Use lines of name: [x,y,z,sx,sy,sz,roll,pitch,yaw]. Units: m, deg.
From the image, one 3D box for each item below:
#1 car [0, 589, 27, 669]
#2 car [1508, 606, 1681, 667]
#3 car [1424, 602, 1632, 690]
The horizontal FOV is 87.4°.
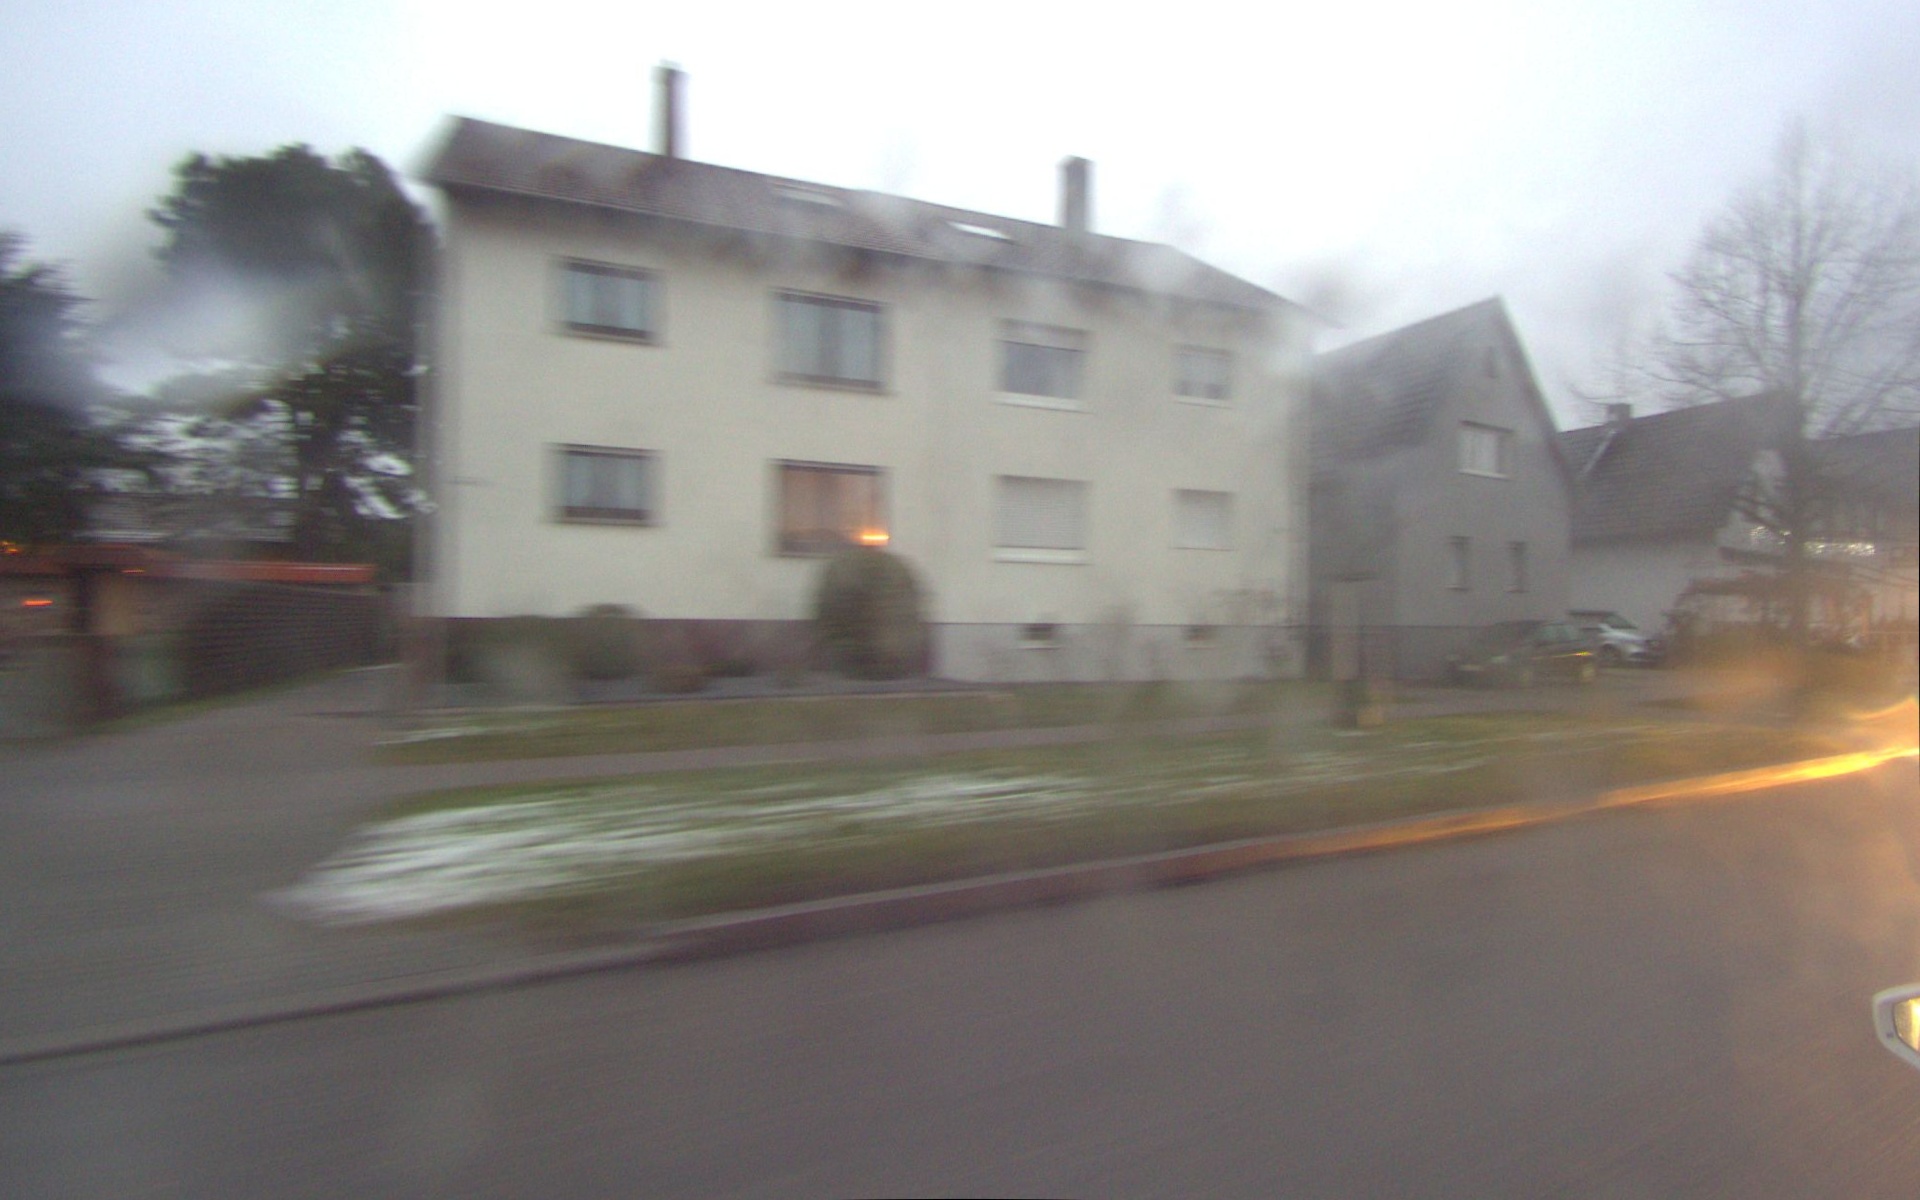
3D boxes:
car: [-21.033,0.567,19.693,3.630,1.595,1.984,1,-1,-31]
car: [20.456,1.150,32.606,1.884,1.824,4.544,1,-1,-22]
car: [12.636,0.985,22.292,4.512,1.779,1.985,1,-1,-29]
